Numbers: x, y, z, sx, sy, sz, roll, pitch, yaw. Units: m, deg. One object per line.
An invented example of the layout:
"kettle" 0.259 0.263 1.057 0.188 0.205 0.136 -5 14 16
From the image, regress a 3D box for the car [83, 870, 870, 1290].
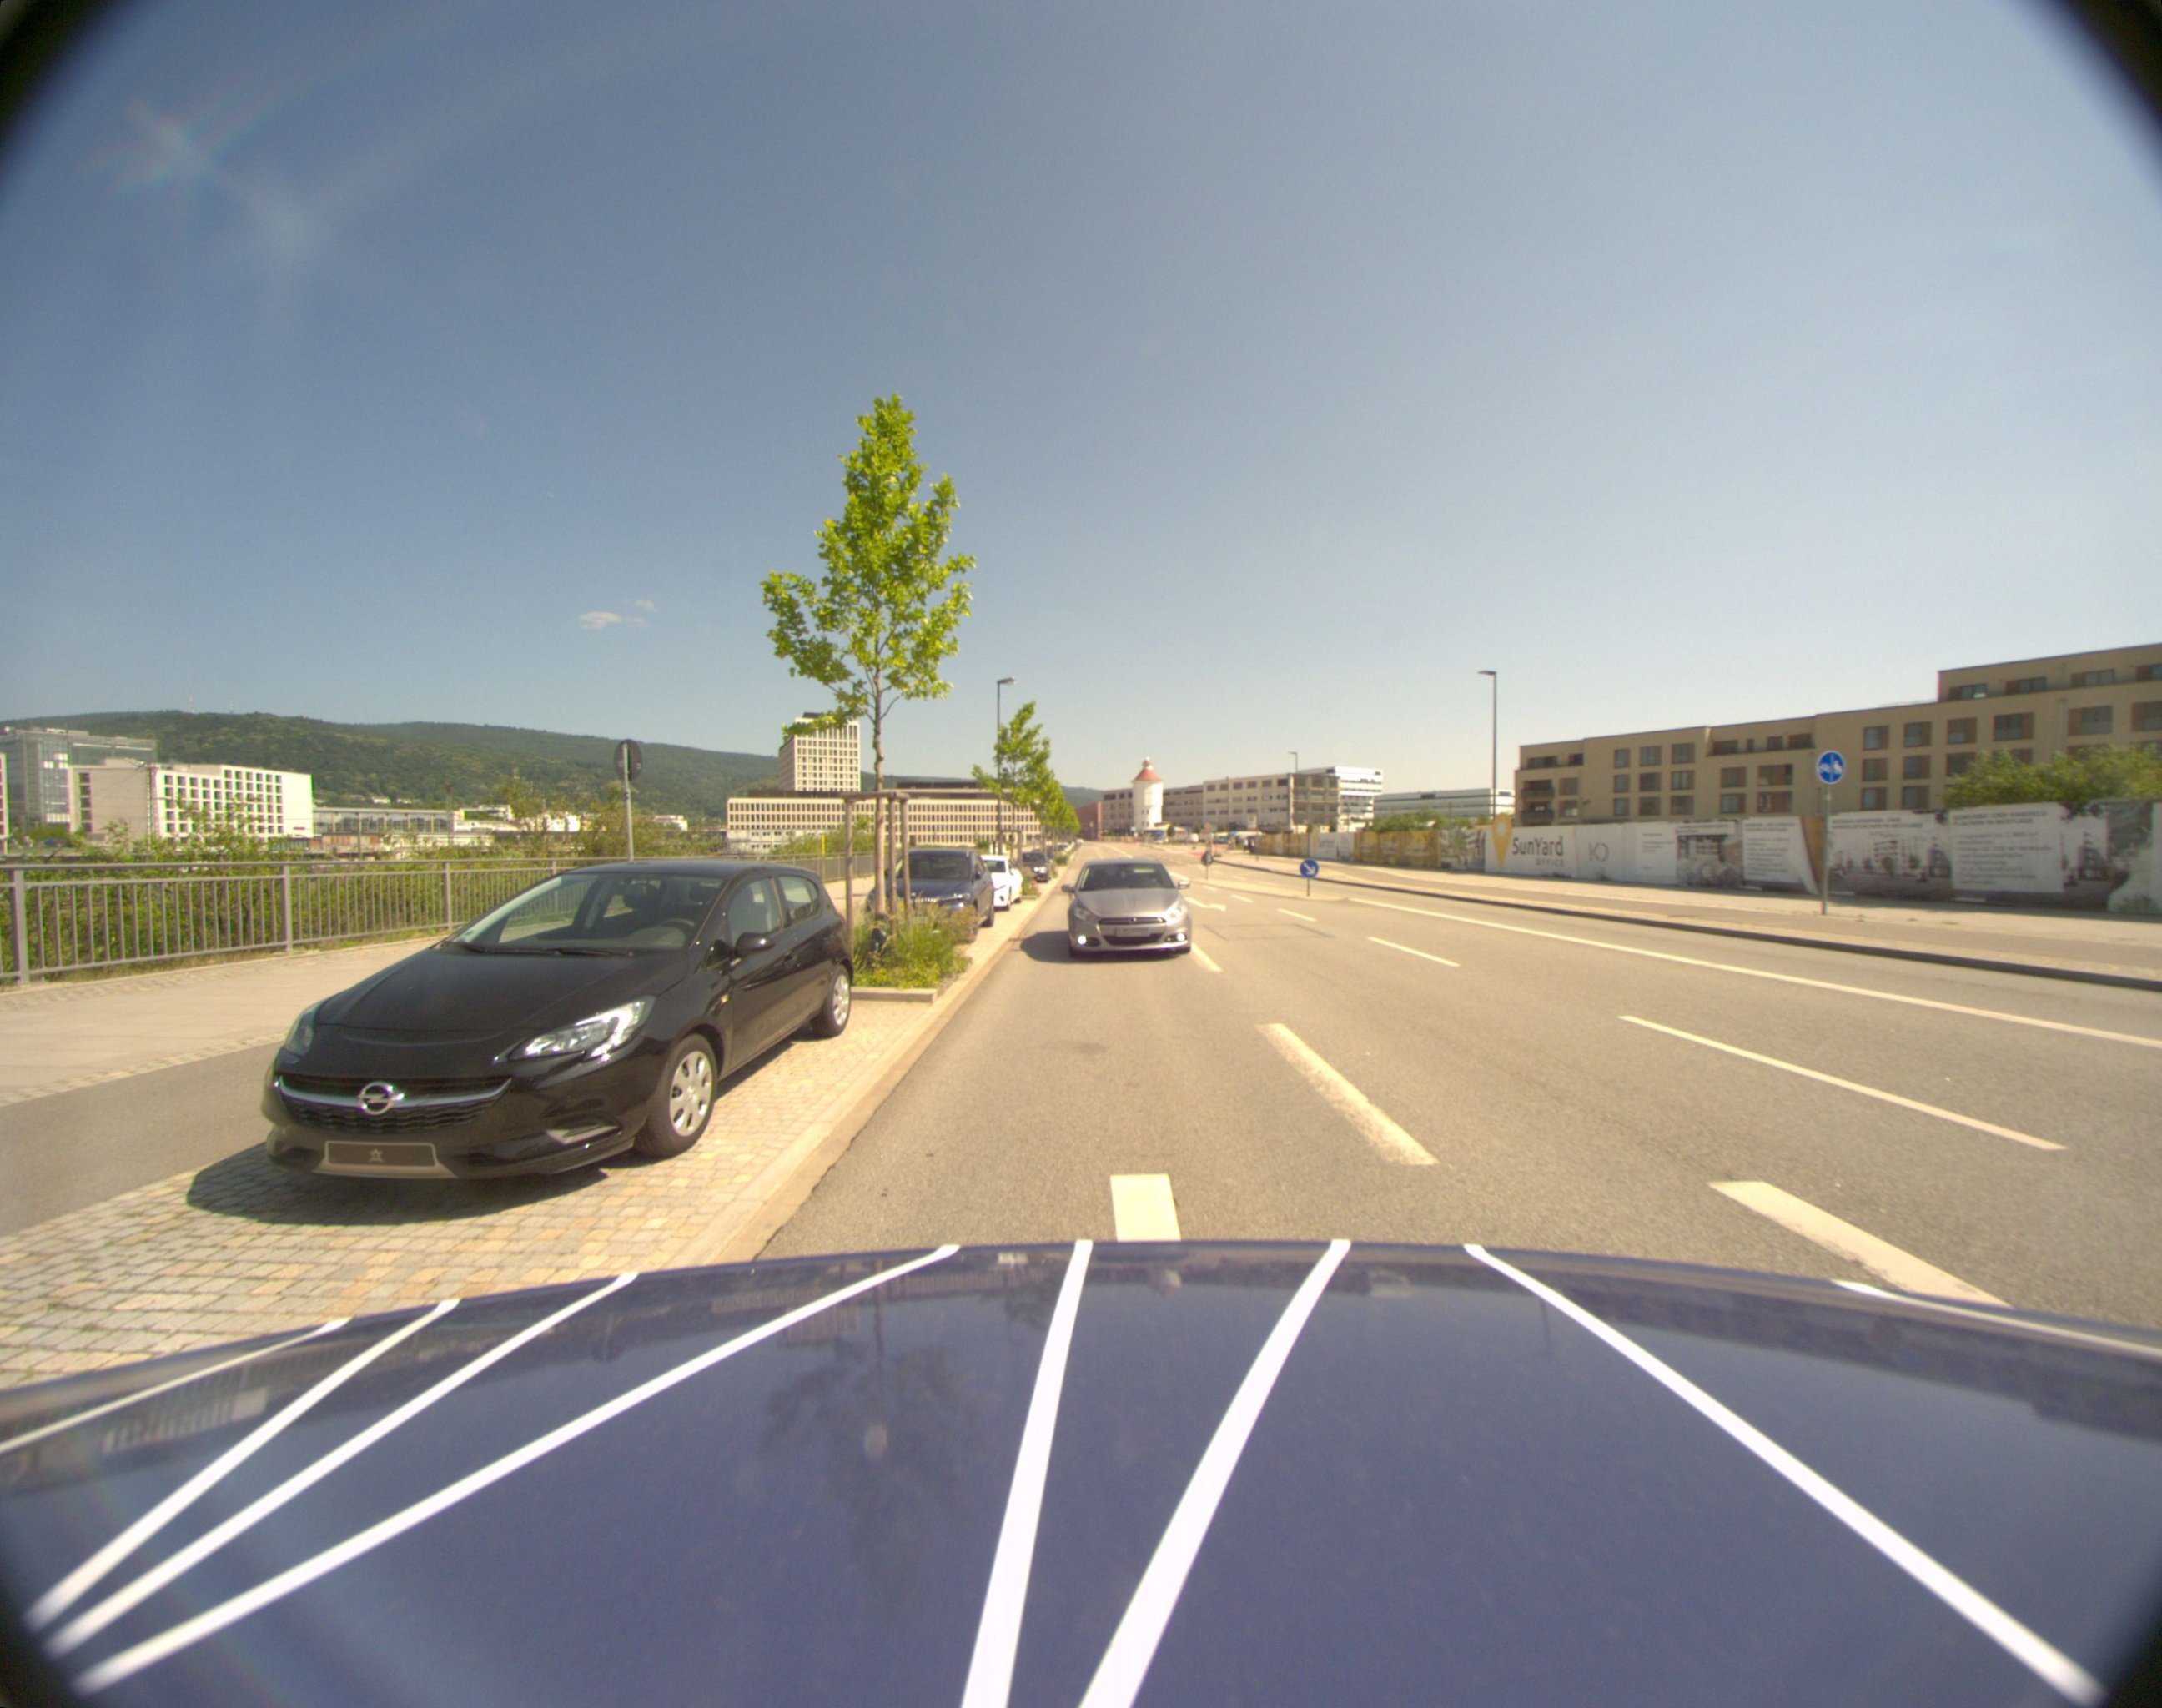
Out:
"car" -2.819 0.891 4.834 1.664 1.418 4.000 -1 1 2

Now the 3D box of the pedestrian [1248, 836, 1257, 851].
"pedestrian" 19.303 -1.175 85.700 0.705 1.577 0.617 -3 2 -35

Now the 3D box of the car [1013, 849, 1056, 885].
"car" -2.180 0.591 36.755 1.664 1.530 4.000 -2 1 1

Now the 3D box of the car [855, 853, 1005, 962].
"car" -2.581 0.839 14.065 1.769 1.598 4.238 -2 1 1

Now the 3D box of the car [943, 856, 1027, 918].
"car" -2.560 0.847 21.166 1.664 1.447 4.000 -2 1 1

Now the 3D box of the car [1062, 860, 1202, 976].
"car" 0.727 0.856 12.015 1.784 1.372 4.135 -2 1 1
